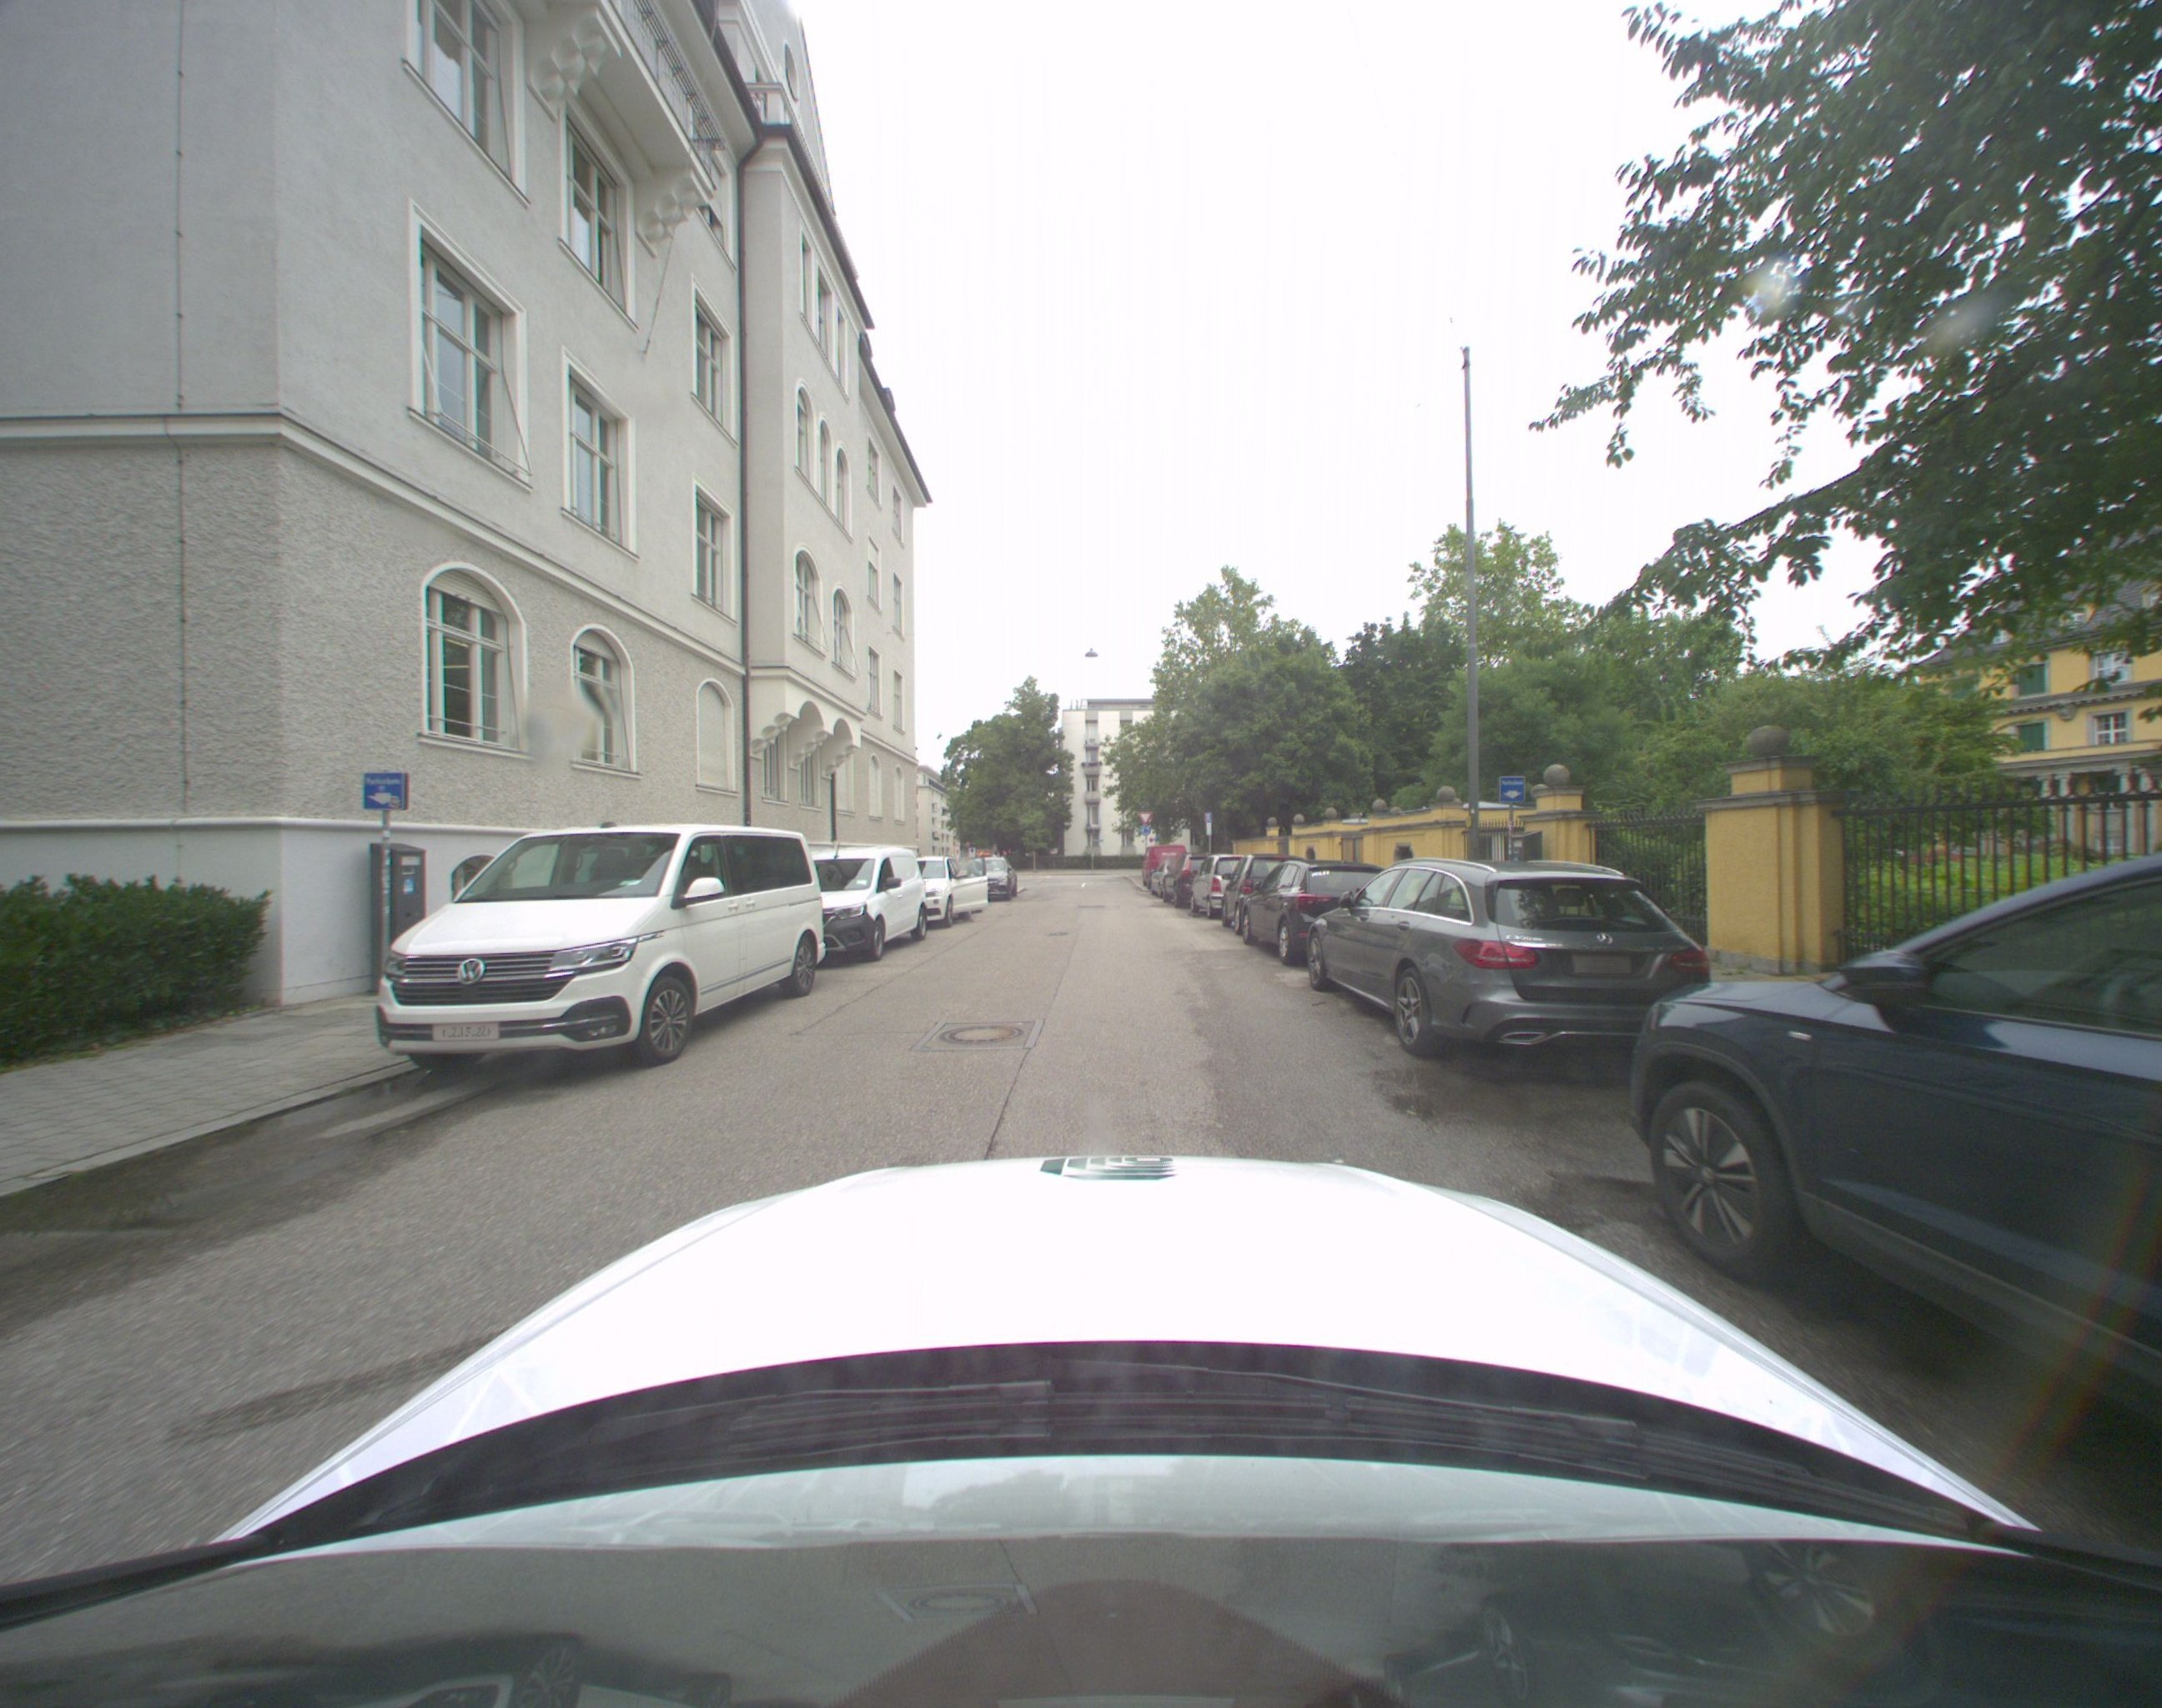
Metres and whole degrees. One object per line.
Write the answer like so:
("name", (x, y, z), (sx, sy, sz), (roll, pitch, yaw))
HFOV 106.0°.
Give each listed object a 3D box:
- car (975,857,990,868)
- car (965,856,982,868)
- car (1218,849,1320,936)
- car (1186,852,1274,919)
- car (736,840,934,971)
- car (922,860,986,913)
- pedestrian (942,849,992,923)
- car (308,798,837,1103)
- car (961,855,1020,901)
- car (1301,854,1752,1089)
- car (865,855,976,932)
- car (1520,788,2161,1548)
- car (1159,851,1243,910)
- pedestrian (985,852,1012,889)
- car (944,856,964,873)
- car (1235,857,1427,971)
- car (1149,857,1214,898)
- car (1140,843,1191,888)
("car", (-15.149, 1.254, 125.591), (1.829, 1.634, 3.819), (-2, 0, 0))
("car", (-15.388, 1.148, 116.464), (1.829, 1.634, 3.819), (-2, 0, 0))
("car", (3.721, 0.722, 16.526), (1.502, 1.566, 2.871), (1, 0, 2))
("car", (3.734, 0.750, 20.957), (1.480, 1.539, 3.690), (1, 0, -2))
("car", (-3.933, 0.729, 14.012), (1.740, 1.788, 5.037), (-2, 0, 1))
("car", (-3.784, 0.925, 24.728), (1.690, 1.414, 3.654), (-2, 0, -6))
("pedestrian", (-2.824, 0.771, 20.129), (0.967, 1.756, 0.868), (0, 0, -29))
("car", (-4.088, 0.641, 7.832), (1.849, 1.938, 4.958), (-2, 0, 1))
("car", (-3.444, 0.881, 31.660), (1.741, 1.602, 4.496), (-2, 0, 0))
("car", (3.337, 0.728, 7.259), (1.685, 1.414, 4.518), (-1, 0, 2))
("car", (-3.753, 0.861, 19.803), (1.741, 1.602, 4.496), (-2, 0, 0))
("car", (3.081, 0.636, 1.876), (1.706, 1.571, 4.693), (-1, 0, 2))
("car", (3.695, 0.772, 25.840), (1.879, 1.653, 4.822), (1, 0, -1))
("pedestrian", (-4.024, 0.786, 39.676), (1.056, 1.771, 0.867), (0, -1, -33))
("car", (-12.392, 0.987, 79.630), (1.817, 1.505, 4.411), (-2, 0, -7))
("car", (3.568, 0.777, 12.397), (1.686, 1.414, 4.036), (1, 0, 0))
("car", (3.841, 0.885, 31.937), (1.879, 1.448, 4.366), (1, 0, -2))
("car", (3.844, 0.513, 37.674), (1.868, 1.920, 4.887), (1, 0, 0))
